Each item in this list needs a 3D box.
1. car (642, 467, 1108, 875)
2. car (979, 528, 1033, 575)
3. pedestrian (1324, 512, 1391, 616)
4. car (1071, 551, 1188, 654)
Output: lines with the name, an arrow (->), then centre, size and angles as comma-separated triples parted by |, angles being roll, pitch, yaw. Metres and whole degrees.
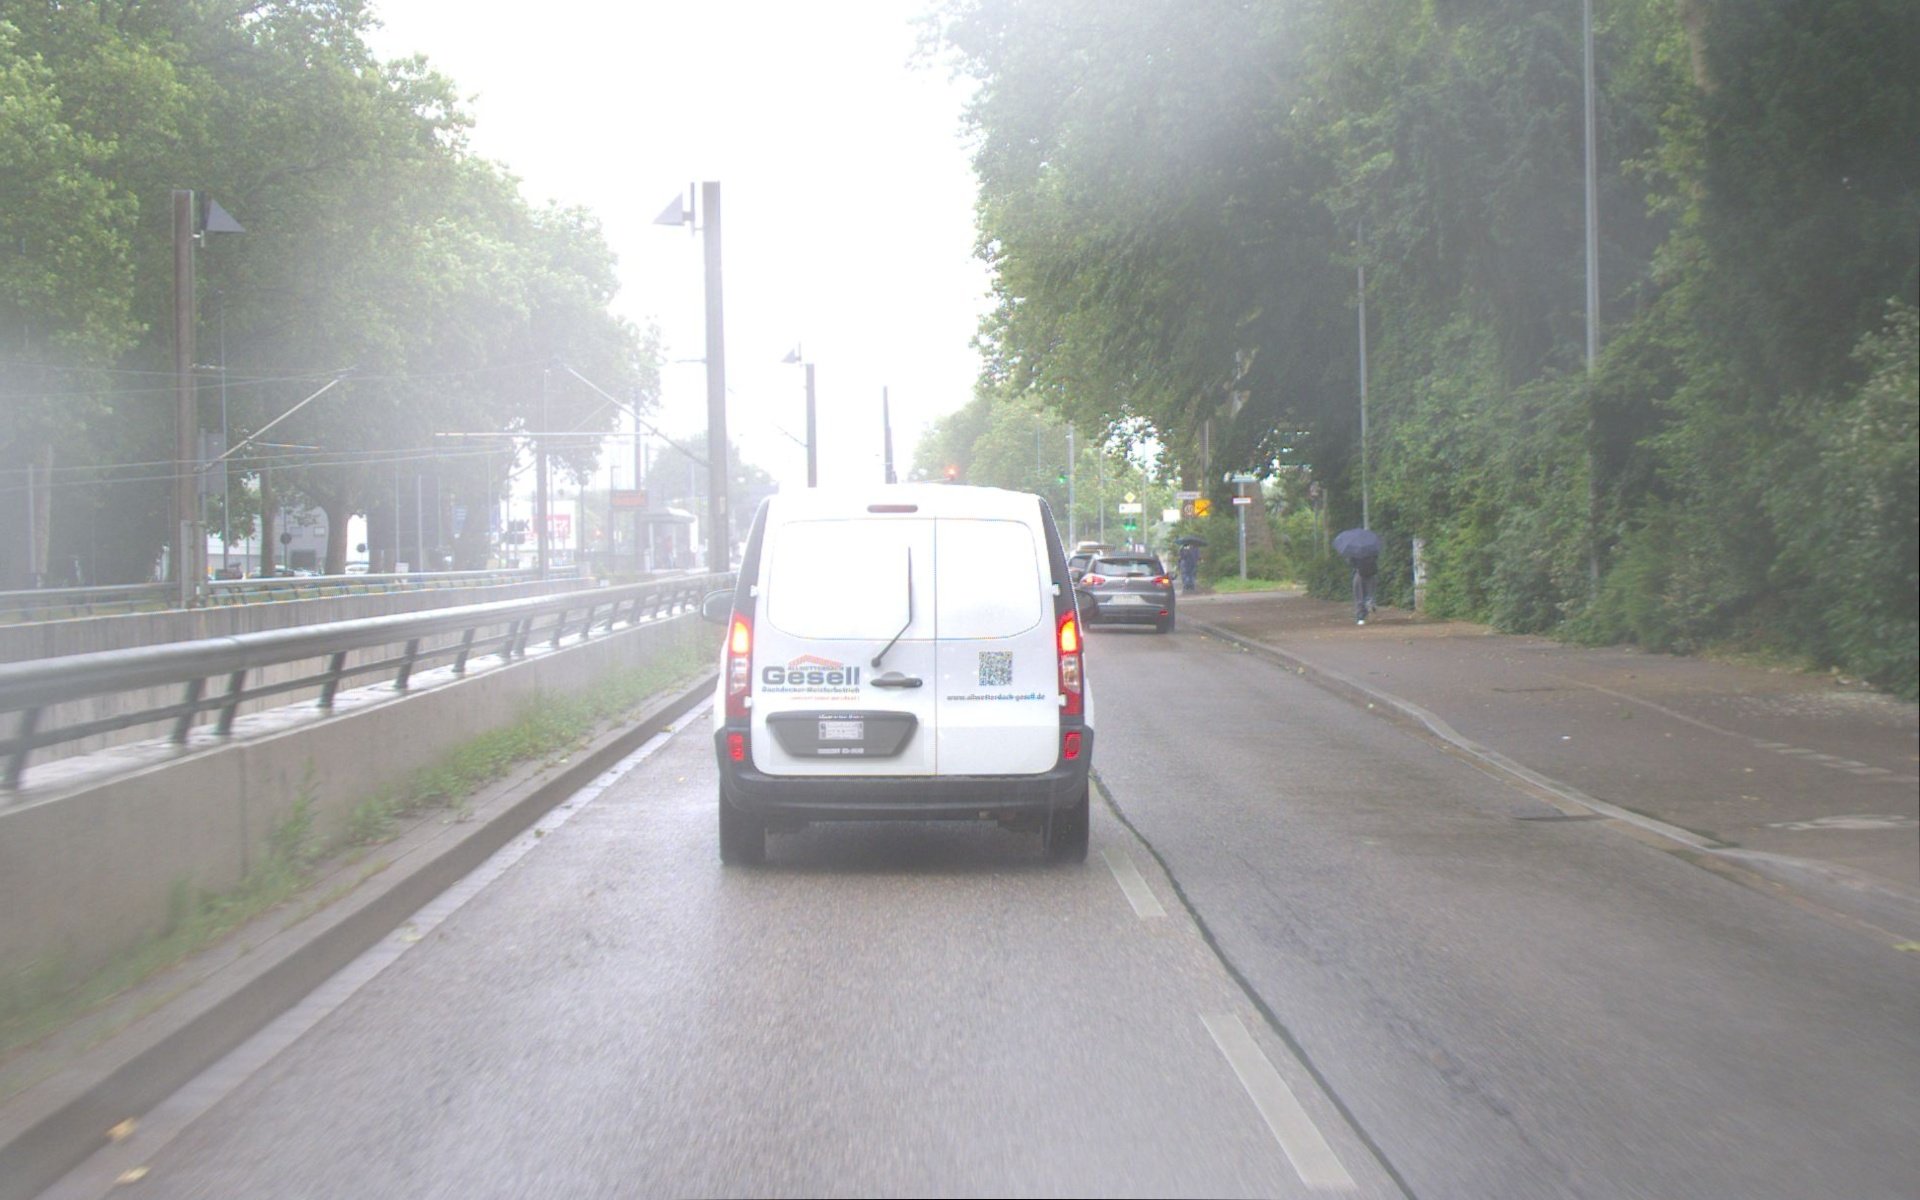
car -> -0.412, 0.285, 17.316 | 2.025, 1.769, 4.274 | 1, 1, -1
car -> 1.773, -1.852, 131.838 | 1.993, 1.744, 4.000 | 1, 1, 1
pedestrian -> 6.619, -0.603, 57.357 | 0.967, 1.696, 1.141 | 1, 1, 0
car -> 3.013, 0.012, 61.680 | 1.994, 1.744, 4.000 | 1, 1, 2
